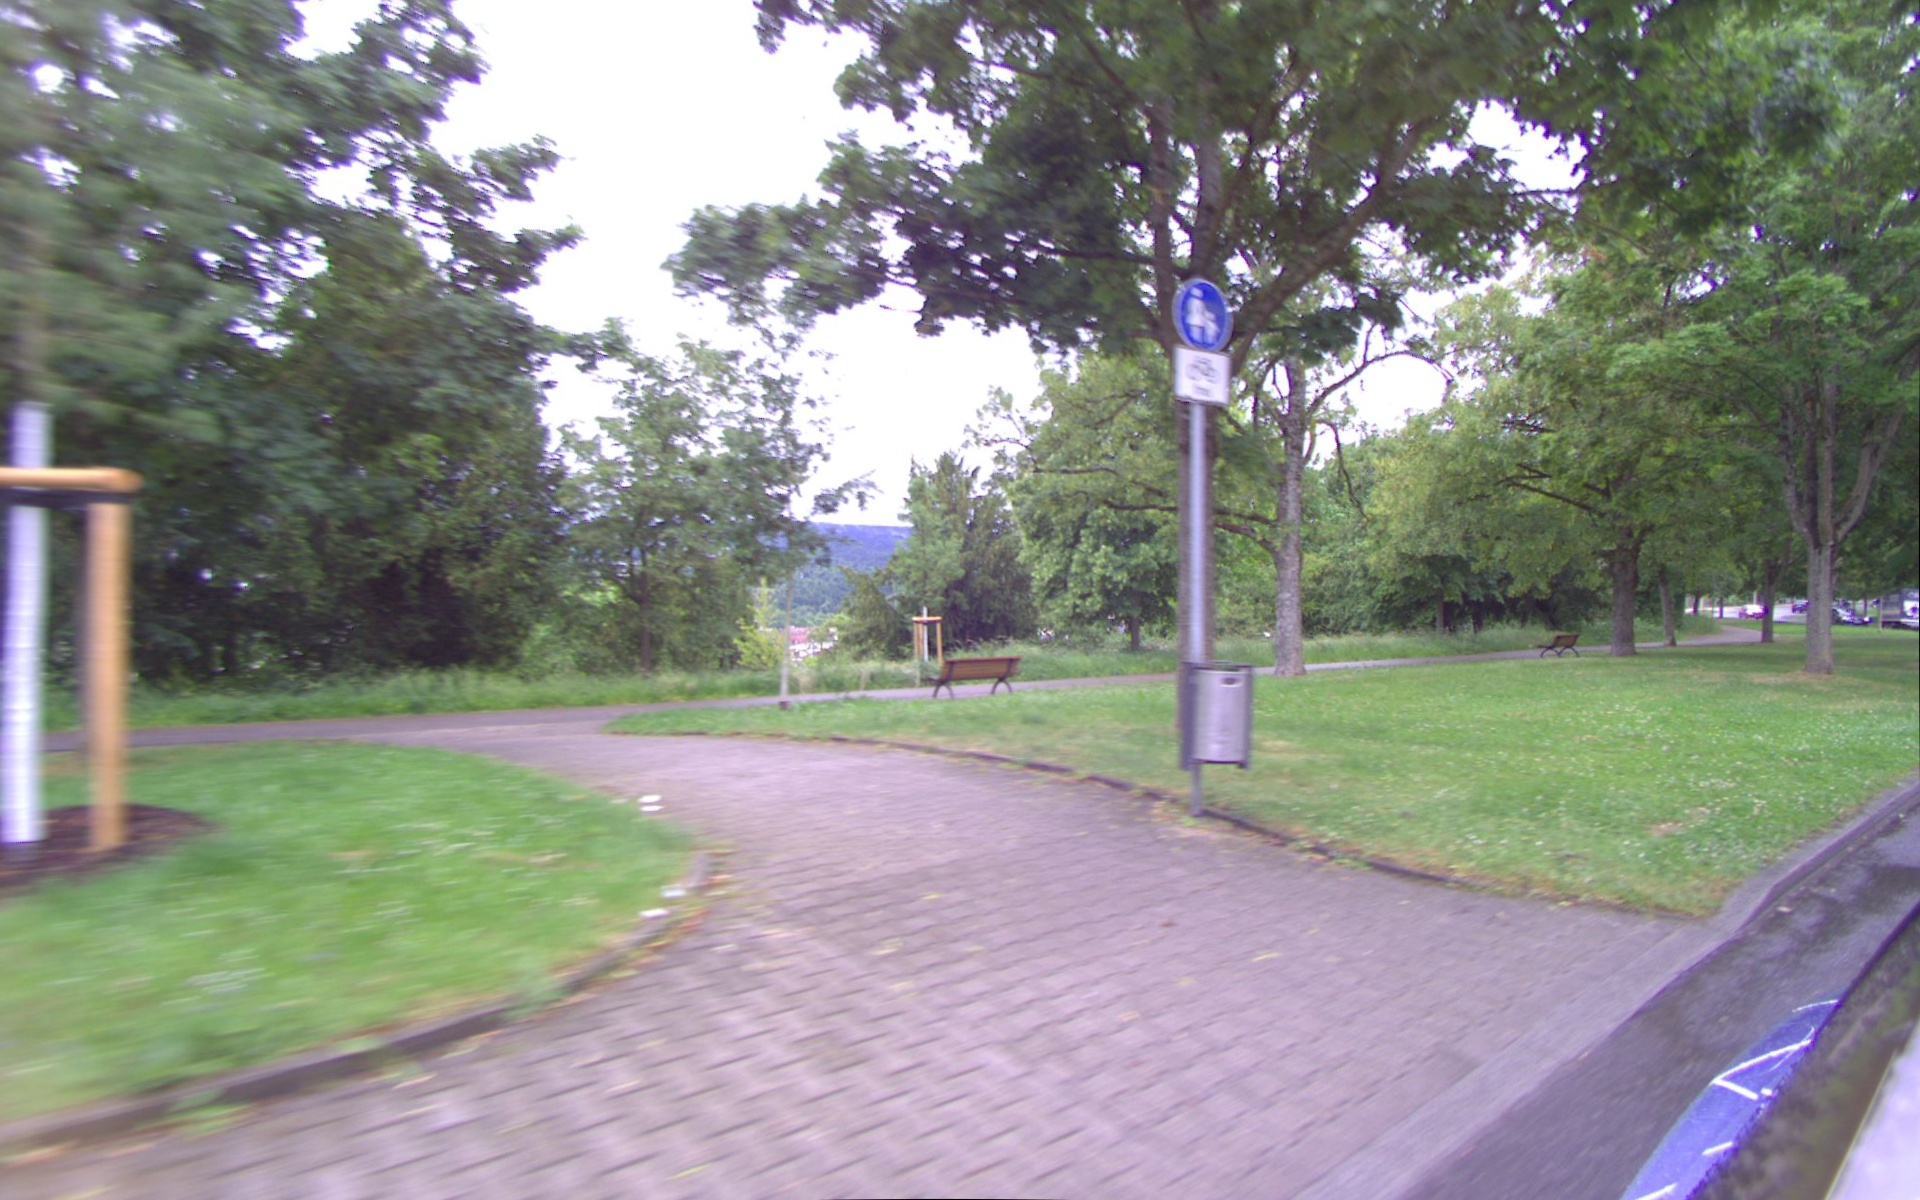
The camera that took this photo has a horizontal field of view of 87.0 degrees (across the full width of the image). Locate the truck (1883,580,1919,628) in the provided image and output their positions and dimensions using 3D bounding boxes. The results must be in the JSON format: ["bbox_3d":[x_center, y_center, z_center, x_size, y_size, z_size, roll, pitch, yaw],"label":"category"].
[{"bbox_3d":[63.479,0.269,67.033,2.126,3.084,5.120,0,0,26],"label":"truck"}]
